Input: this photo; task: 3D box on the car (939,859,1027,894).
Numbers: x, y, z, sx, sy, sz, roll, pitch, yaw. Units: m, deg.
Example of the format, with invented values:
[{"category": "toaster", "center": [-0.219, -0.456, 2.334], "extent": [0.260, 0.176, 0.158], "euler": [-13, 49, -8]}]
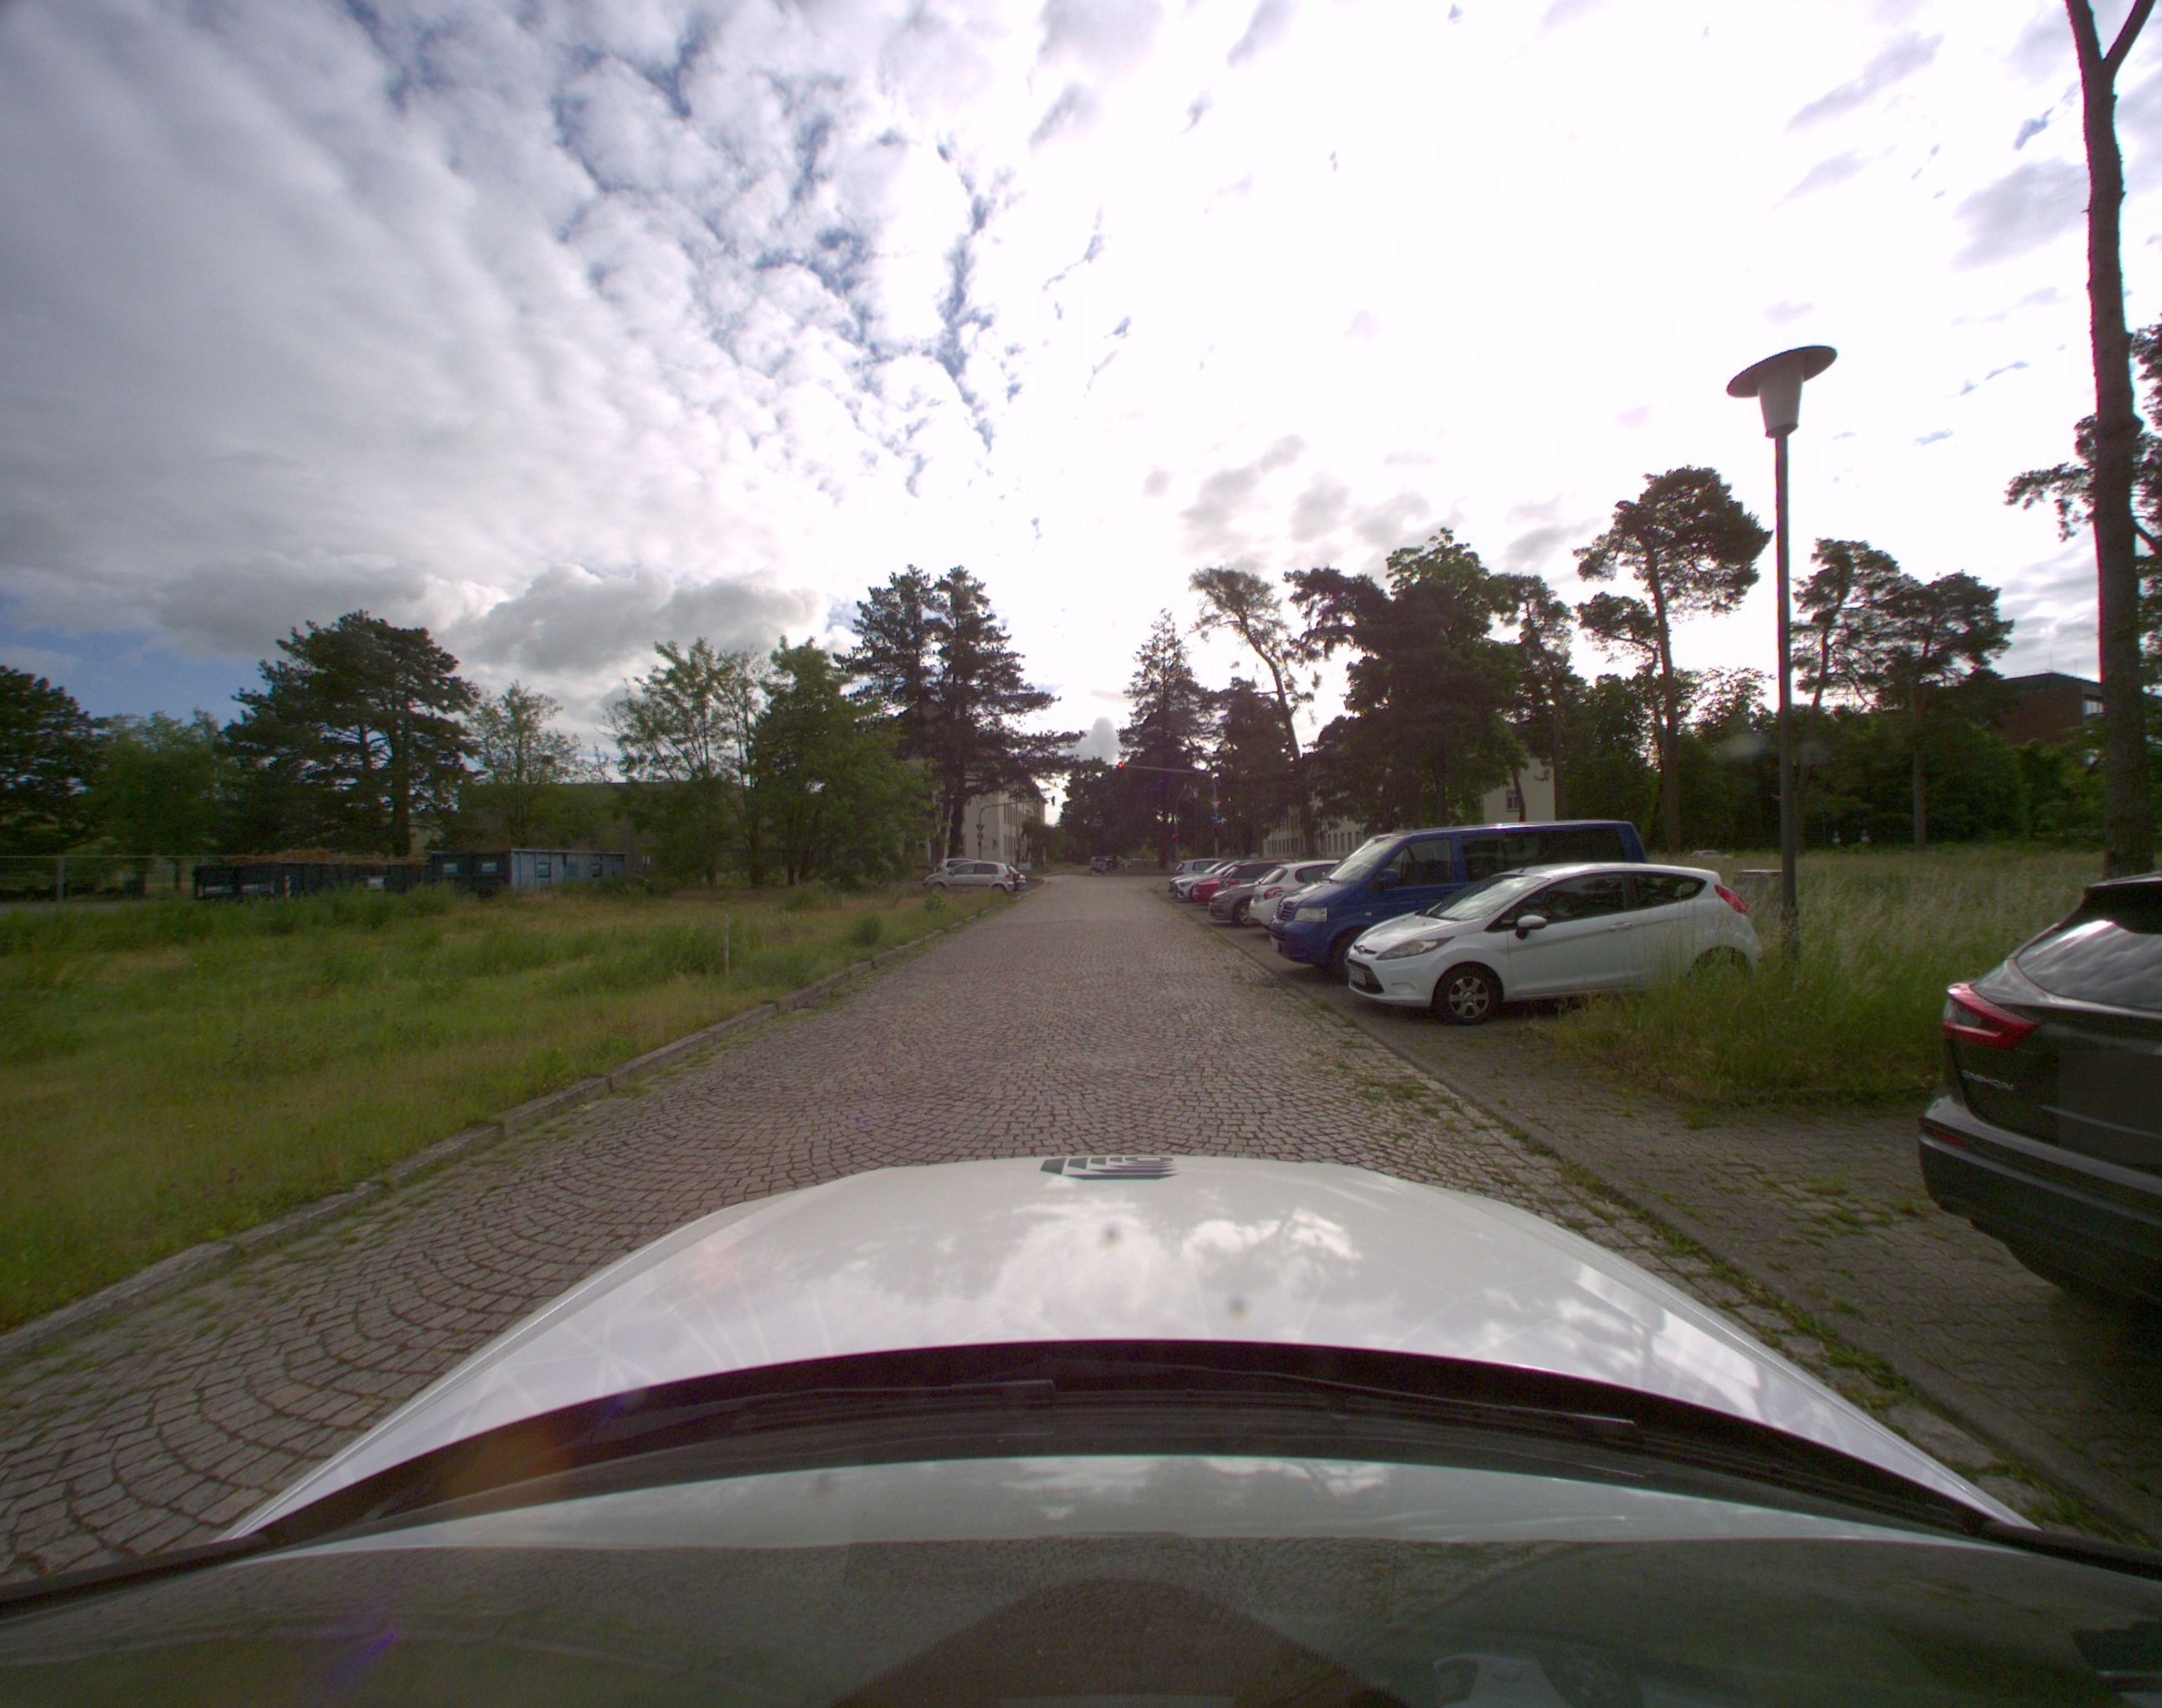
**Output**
[{"category": "car", "center": [-4.359, 1.009, 36.638], "extent": [3.736, 1.429, 1.581], "euler": [2, -1, -2]}]

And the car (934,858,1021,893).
[{"category": "car", "center": [-4.956, 1.017, 39.427], "extent": [3.937, 1.563, 1.649], "euler": [2, -1, -2]}]

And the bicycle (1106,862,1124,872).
[{"category": "bicycle", "center": [3.750, 1.471, 90.739], "extent": [1.964, 1.069, 0.583], "euler": [-1, -1, -24]}]

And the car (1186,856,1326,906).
[{"category": "car", "center": [5.780, 0.885, 27.286], "extent": [4.247, 1.416, 1.871], "euler": [-3, 0, 1]}]

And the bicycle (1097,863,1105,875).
[{"category": "bicycle", "center": [1.975, 1.474, 80.412], "extent": [0.602, 1.132, 1.958], "euler": [-1, 0, -4]}]

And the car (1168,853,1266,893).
[{"category": "car", "center": [5.741, 0.808, 34.697], "extent": [3.911, 1.477, 1.643], "euler": [-3, 0, 2]}]

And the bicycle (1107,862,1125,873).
[{"category": "bicycle", "center": [3.734, 1.453, 87.051], "extent": [1.966, 1.069, 0.582], "euler": [-1, -1, -29]}]

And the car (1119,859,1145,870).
[{"category": "car", "center": [6.584, 1.364, 105.516], "extent": [3.223, 1.416, 1.724], "euler": [-1, -1, -2]}]

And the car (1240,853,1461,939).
[{"category": "car", "center": [5.326, 0.809, 16.472], "extent": [3.850, 1.472, 1.758], "euler": [-3, 0, 0]}]

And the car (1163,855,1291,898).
[{"category": "car", "center": [5.701, 0.875, 32.242], "extent": [4.667, 1.416, 1.870], "euler": [-3, 0, -1]}]

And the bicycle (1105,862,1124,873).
[{"category": "bicycle", "center": [3.547, 1.442, 85.704], "extent": [1.966, 1.069, 0.582], "euler": [-1, -1, -29]}]

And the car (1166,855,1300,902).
[{"category": "car", "center": [5.468, 0.857, 29.560], "extent": [4.419, 1.416, 1.866], "euler": [-3, 0, -8]}]

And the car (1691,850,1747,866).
[{"category": "car", "center": [59.755, 0.371, 76.321], "extent": [3.930, 1.421, 1.652], "euler": [2, -1, 4]}]

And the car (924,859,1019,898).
[{"category": "car", "center": [-4.526, 1.015, 34.042], "extent": [3.693, 1.479, 1.581], "euler": [2, -1, -2]}]

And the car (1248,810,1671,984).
[{"category": "car", "center": [4.916, 0.538, 11.128], "extent": [4.792, 1.946, 2.003], "euler": [-3, -1, 0]}]

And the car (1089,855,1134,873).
[{"category": "car", "center": [3.757, 1.259, 101.677], "extent": [5.357, 1.925, 2.019], "euler": [-2, -1, -8]}]

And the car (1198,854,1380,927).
[{"category": "car", "center": [4.845, 0.825, 19.344], "extent": [3.850, 1.472, 1.758], "euler": [-3, 0, 0]}]

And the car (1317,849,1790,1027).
[{"category": "car", "center": [4.688, 0.789, 8.536], "extent": [3.850, 1.472, 1.841], "euler": [-3, 0, 0]}]

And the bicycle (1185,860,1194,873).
[{"category": "bicycle", "center": [9.515, 1.052, 71.386], "extent": [0.584, 1.106, 1.962], "euler": [-1, 0, 1]}]

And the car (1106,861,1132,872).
[{"category": "car", "center": [4.557, 1.494, 98.297], "extent": [3.000, 1.268, 1.533], "euler": [-1, -1, -5]}]

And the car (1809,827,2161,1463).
[{"category": "car", "center": [4.832, 0.660, 2.105], "extent": [4.246, 1.598, 1.822], "euler": [-2, 0, 0]}]

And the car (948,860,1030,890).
[{"category": "car", "center": [-4.691, 1.075, 41.966], "extent": [3.934, 1.421, 1.650], "euler": [2, -1, 0]}]

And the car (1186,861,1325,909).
[{"category": "car", "center": [5.243, 0.915, 24.813], "extent": [3.850, 1.236, 1.758], "euler": [-3, 0, 0]}]

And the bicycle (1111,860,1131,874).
[{"category": "bicycle", "center": [4.174, 1.323, 85.043], "extent": [1.952, 1.384, 0.587], "euler": [-1, -1, -6]}]

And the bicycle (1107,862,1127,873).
[{"category": "bicycle", "center": [3.660, 1.375, 83.585], "extent": [1.952, 1.132, 0.587], "euler": [-1, -1, -6]}]

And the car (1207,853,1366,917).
[{"category": "car", "center": [5.521, 0.814, 22.177], "extent": [3.850, 1.472, 1.758], "euler": [-3, 0, 0]}]

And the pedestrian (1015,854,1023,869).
[{"category": "pedestrian", "center": [-7.573, 0.896, 99.504], "extent": [0.779, 1.837, 0.734], "euler": [-1, -1, -30]}]
